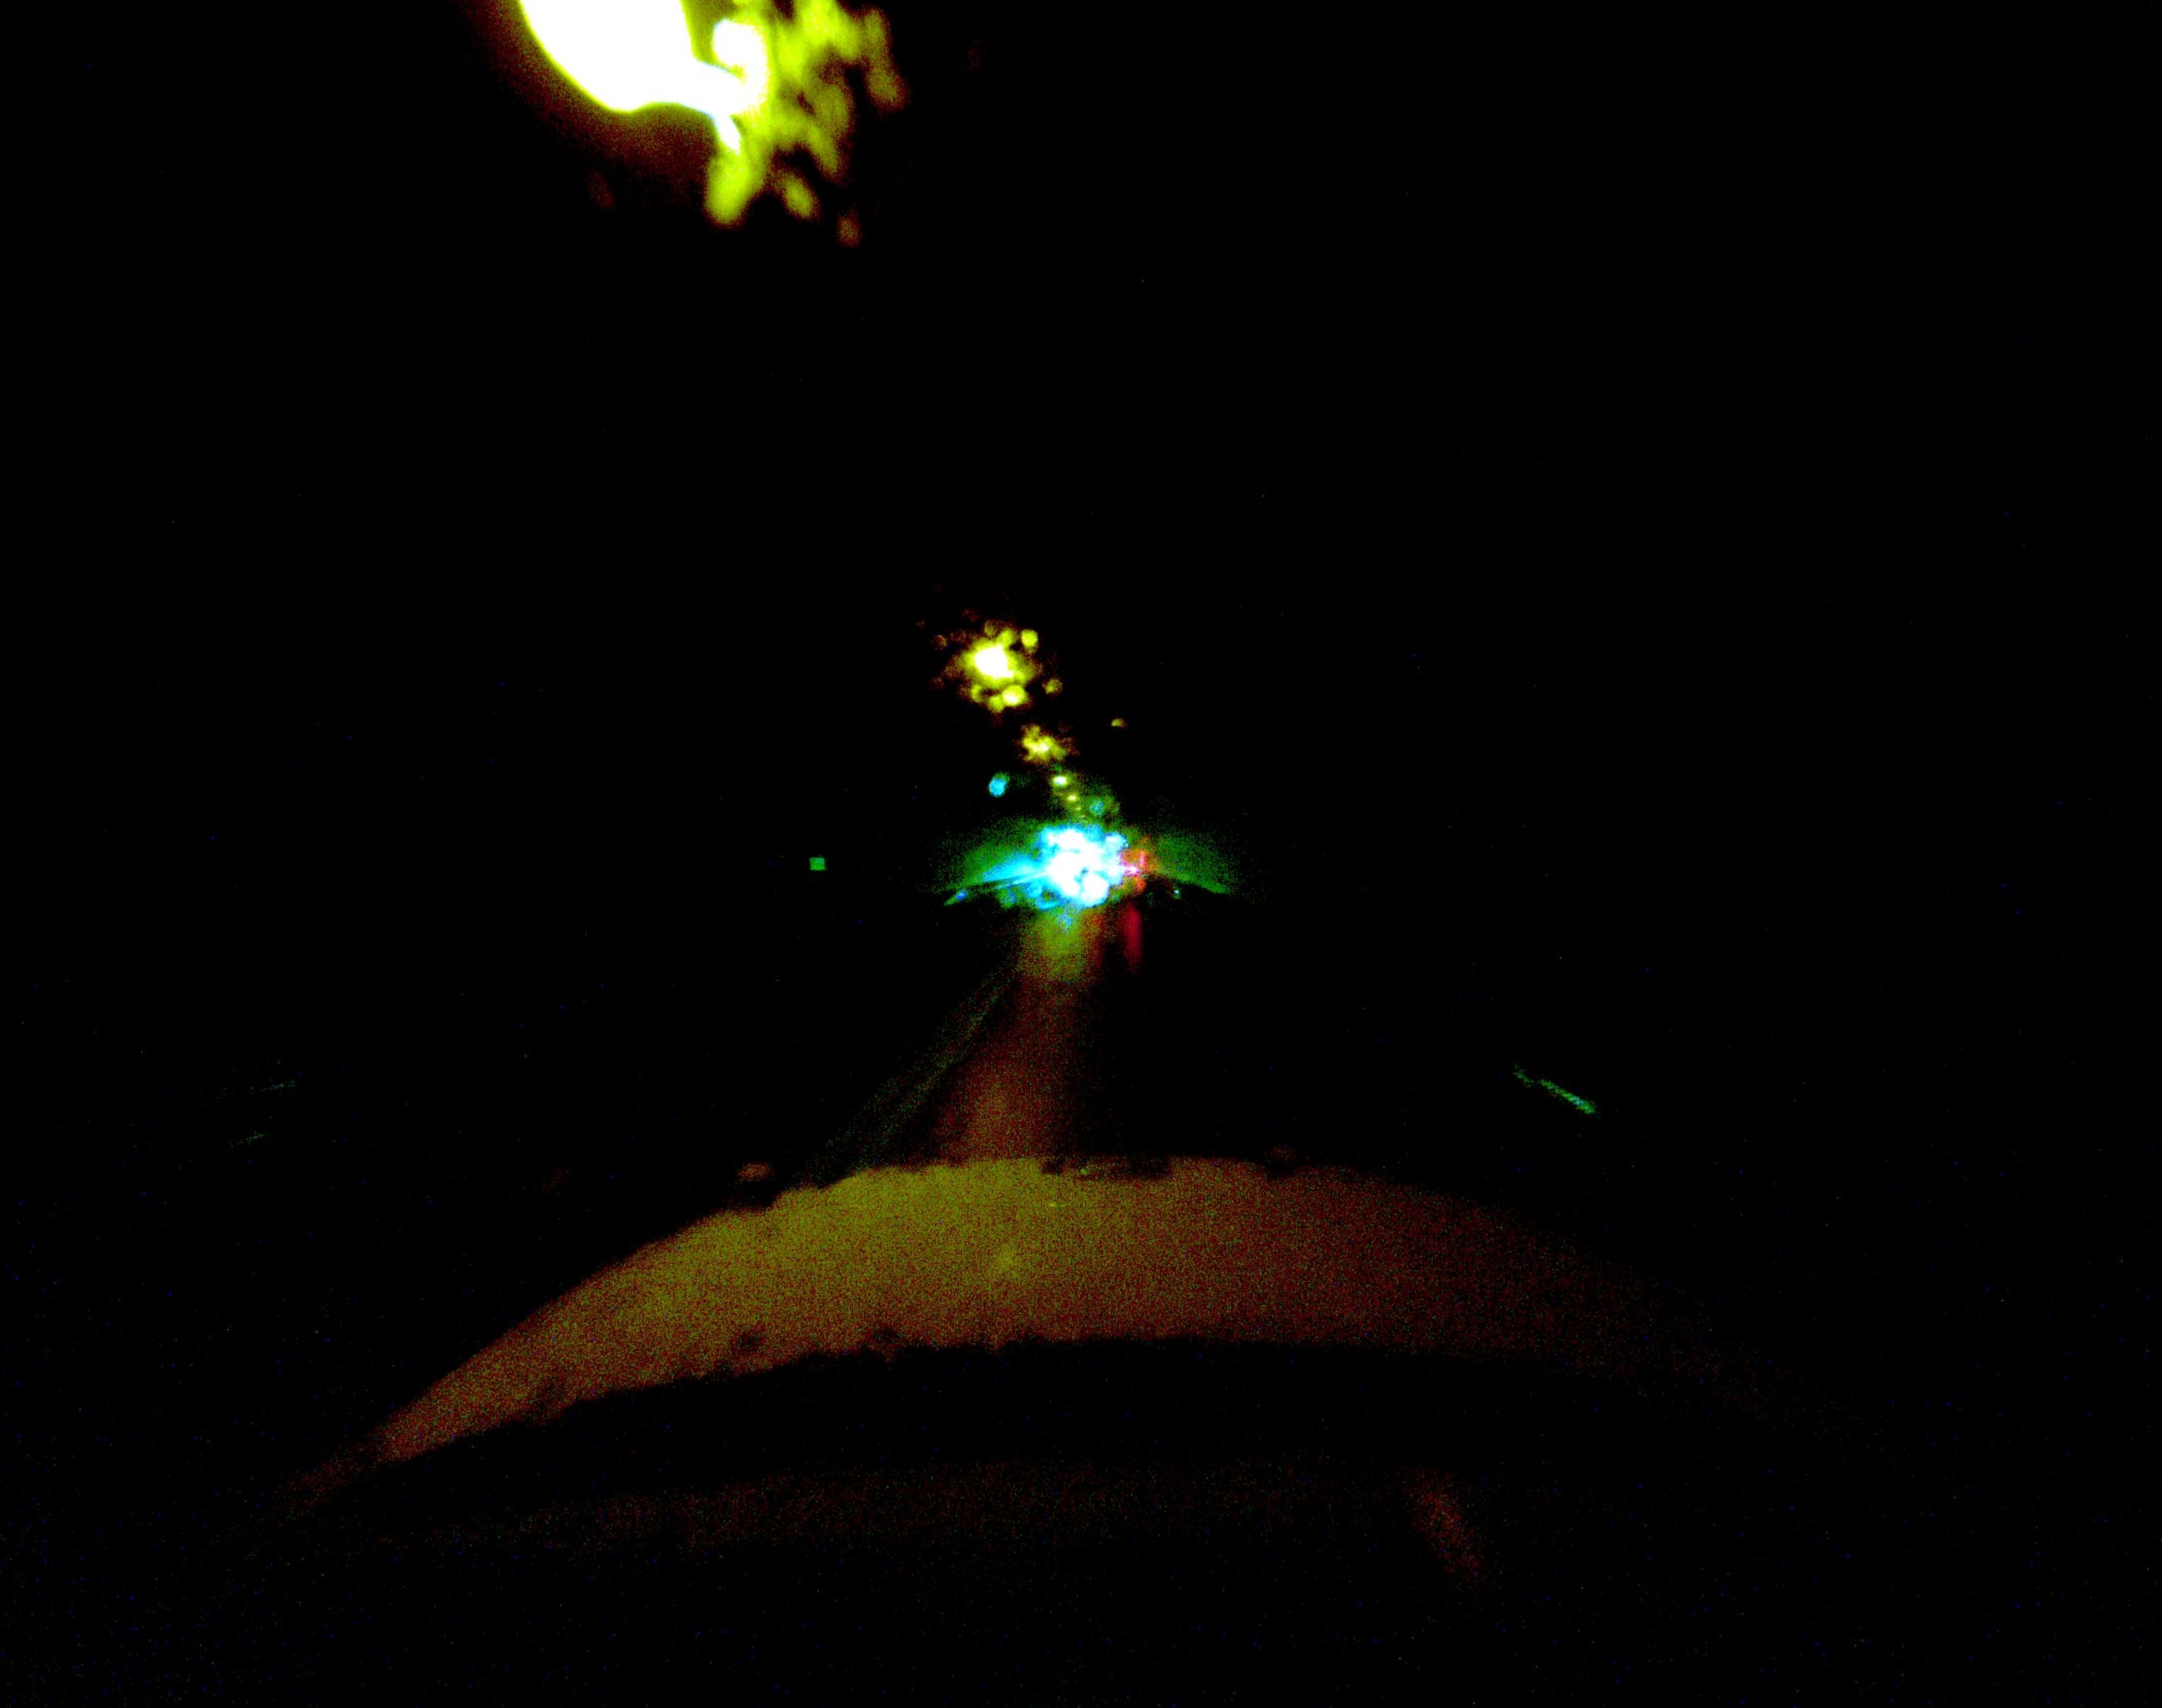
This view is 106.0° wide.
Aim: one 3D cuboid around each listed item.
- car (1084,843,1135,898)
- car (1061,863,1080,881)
[{"bbox_3d":[1.051,0.525,29.091,1.629,1.757,4.148,-2,1,3],"label":"car"},{"bbox_3d":[-1.025,1.782,80.255,1.629,1.602,4.148,-2,1,3],"label":"car"}]
